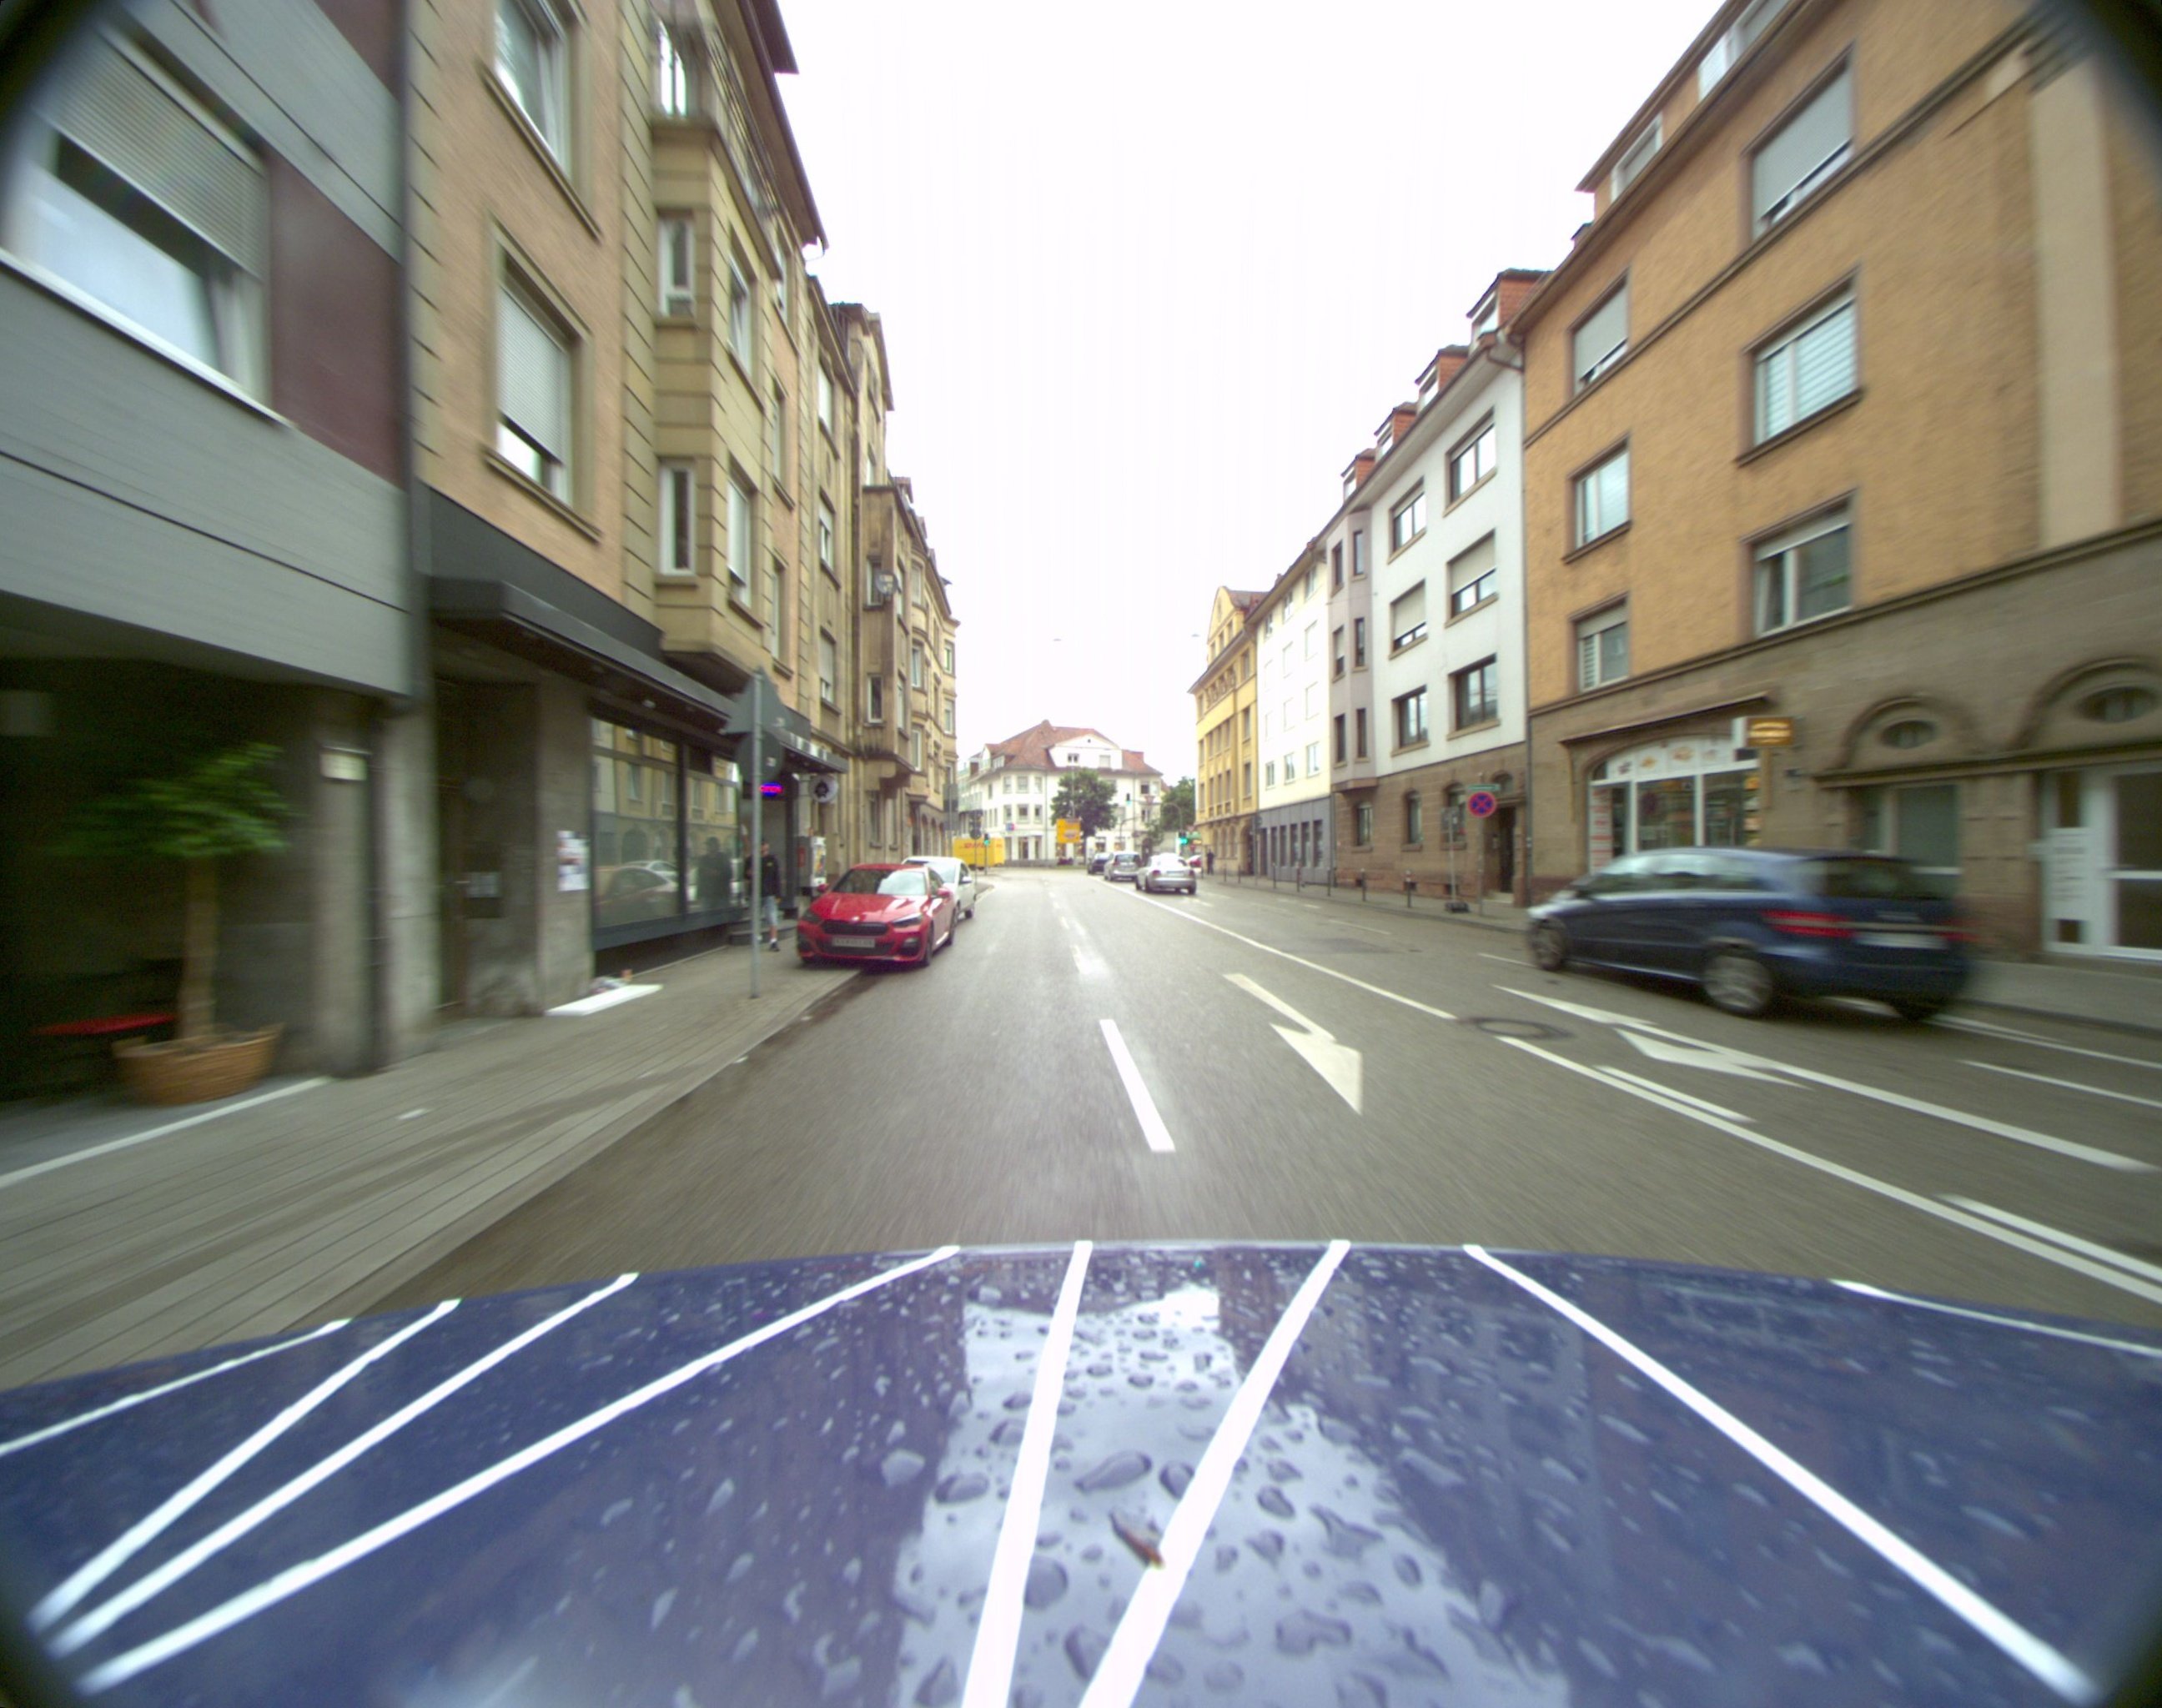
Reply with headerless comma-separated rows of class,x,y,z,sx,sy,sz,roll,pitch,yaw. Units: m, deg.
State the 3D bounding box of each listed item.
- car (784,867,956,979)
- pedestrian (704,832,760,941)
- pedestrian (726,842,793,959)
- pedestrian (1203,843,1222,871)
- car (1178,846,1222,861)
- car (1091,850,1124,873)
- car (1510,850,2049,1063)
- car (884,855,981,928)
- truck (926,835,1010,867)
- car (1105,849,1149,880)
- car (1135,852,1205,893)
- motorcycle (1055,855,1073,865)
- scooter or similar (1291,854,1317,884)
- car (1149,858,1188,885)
car,-3.060,0.919,11.941,1.749,1.361,4.313,0,0,-4
pedestrian,-6.196,0.555,13.524,0.706,1.883,0.649,0,1,-6
pedestrian,-5.055,0.702,11.985,0.746,1.769,0.795,0,1,-6
pedestrian,8.677,0.200,50.296,0.895,1.761,1.032,-4,2,-5
car,12.277,-0.060,78.369,4.043,1.509,2.020,0,1,-22
car,1.858,0.518,55.139,1.948,1.574,4.602,0,1,-4
car,6.740,0.805,8.164,1.759,1.642,4.306,0,1,-1
car,-3.464,0.794,18.472,1.652,1.485,4.446,0,1,-2
truck,-9.927,-0.309,67.026,7.010,2.735,2.238,0,1,17
car,2.517,0.545,42.603,1.948,1.574,4.518,0,1,-3
car,3.435,0.672,30.171,1.948,1.462,4.557,0,1,-4
motorcycle,-1.932,0.689,87.192,2.015,1.142,0.717,0,1,-21
scooter or similar,9.456,0.619,32.283,0.462,1.207,1.578,-4,1,-5
car,5.576,1.097,48.823,1.986,1.586,4.336,0,1,-1
